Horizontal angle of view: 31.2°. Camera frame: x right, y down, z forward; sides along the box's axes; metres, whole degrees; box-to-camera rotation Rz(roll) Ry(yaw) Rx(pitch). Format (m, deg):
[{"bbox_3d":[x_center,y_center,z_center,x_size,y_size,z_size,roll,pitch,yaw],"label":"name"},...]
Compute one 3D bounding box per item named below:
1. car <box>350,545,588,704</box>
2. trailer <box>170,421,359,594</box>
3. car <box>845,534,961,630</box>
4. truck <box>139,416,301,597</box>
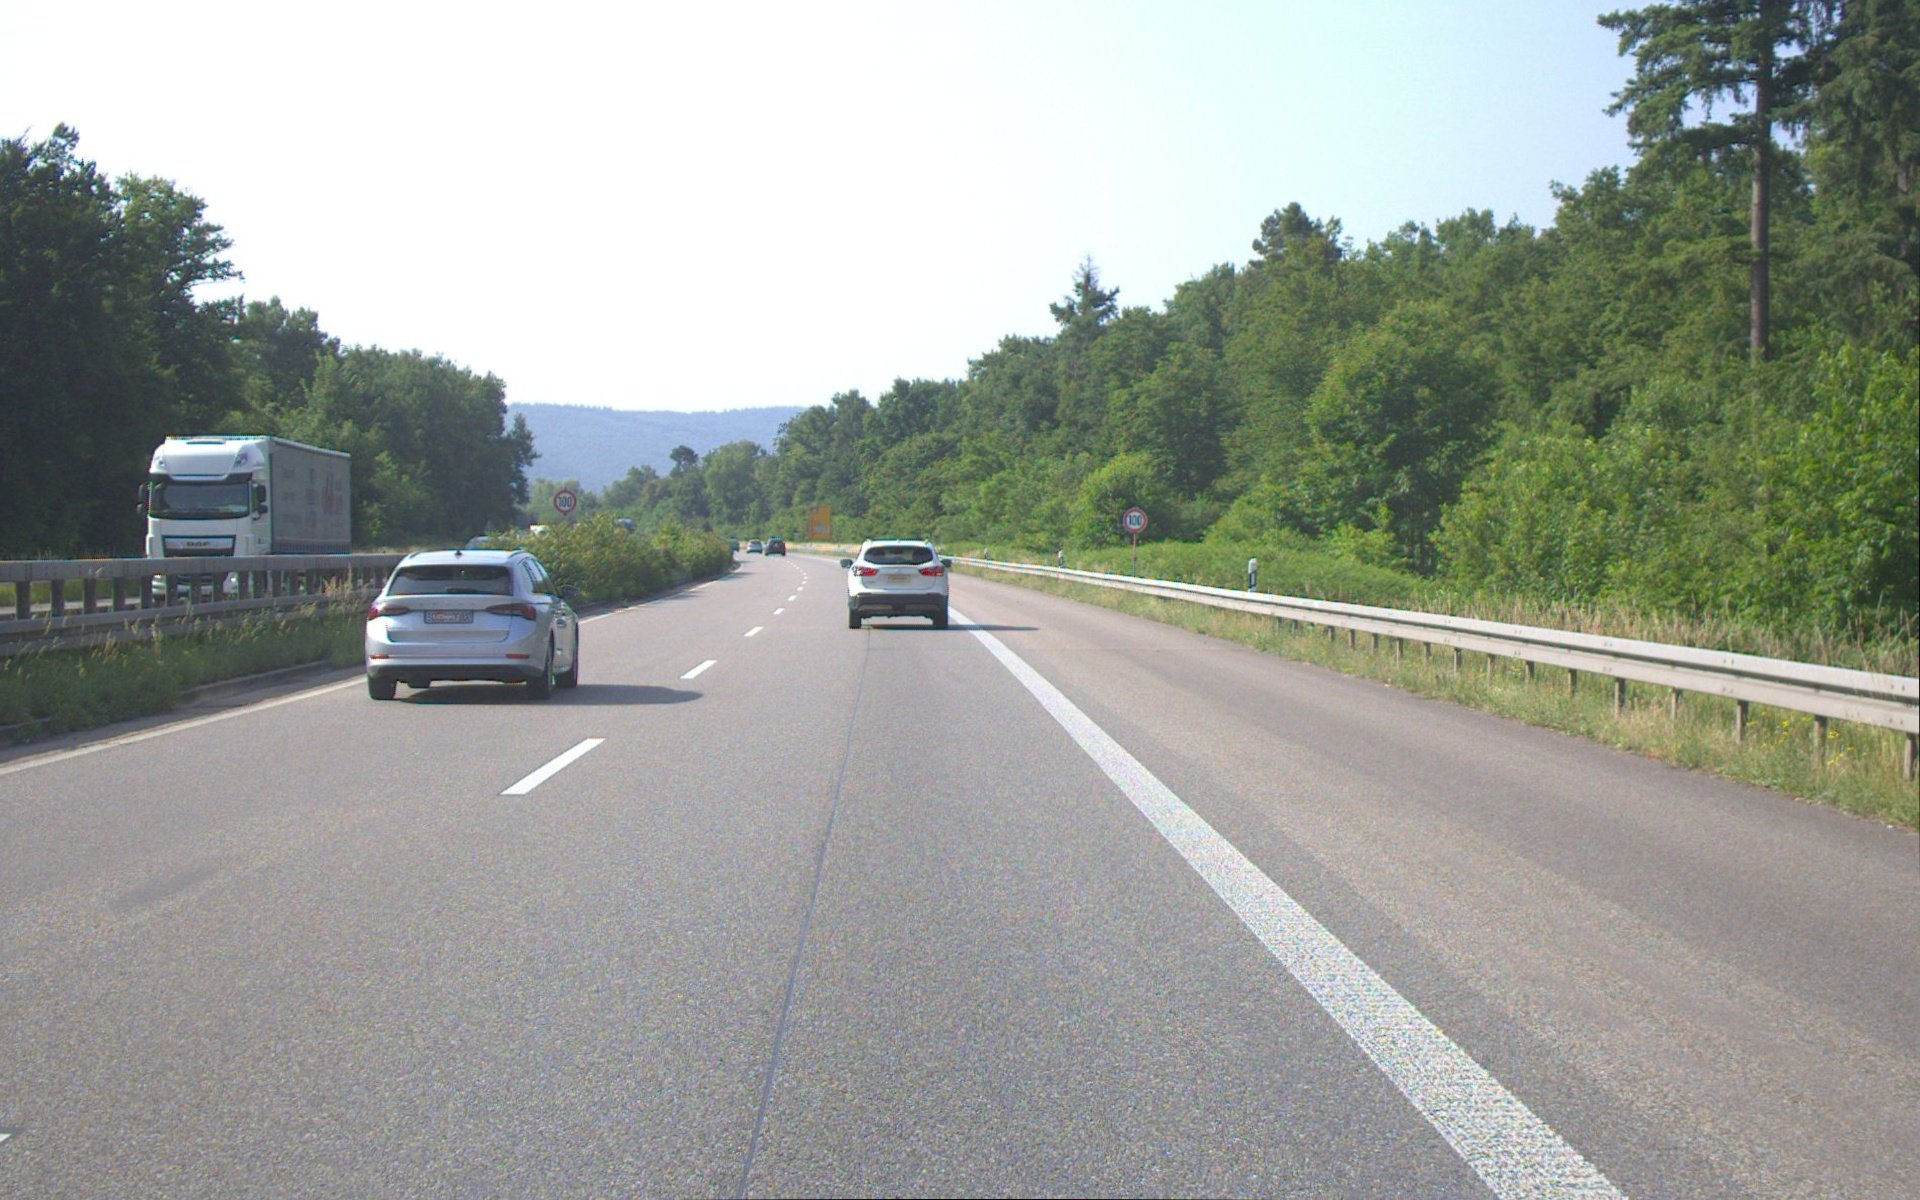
[{"bbox_3d":[-4.872,0.185,34.778,1.792,1.433,5.279,-1,1,-2],"label":"car"},{"bbox_3d":[-18.043,-2.375,90.052,2.832,4.194,12.413,-1,1,-2],"label":"trailer"},{"bbox_3d":[-1.059,-0.351,62.359,1.873,1.580,4.001,2,1,-3],"label":"car"},{"bbox_3d":[-17.778,-2.230,82.892,2.837,4.181,5.547,-1,1,-2],"label":"truck"}]
